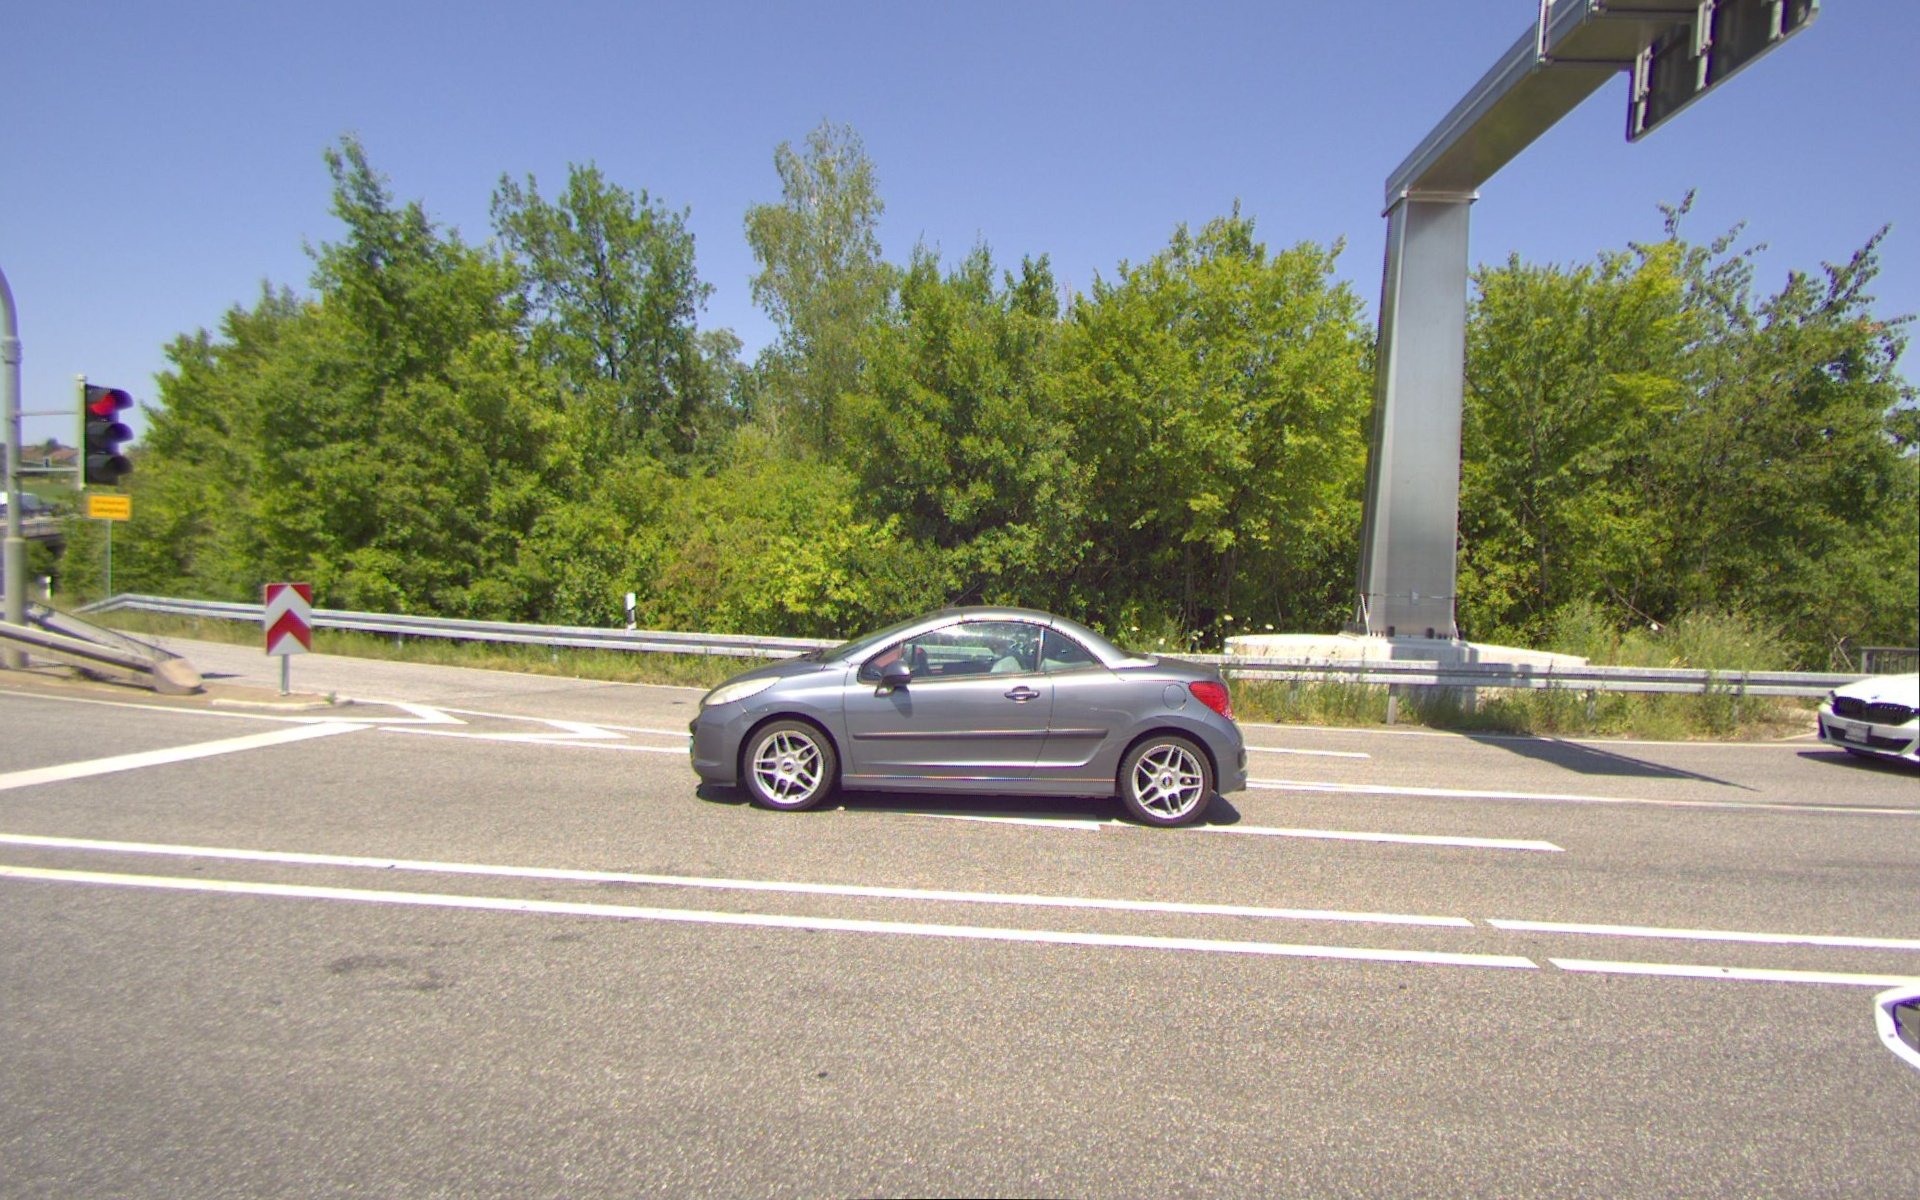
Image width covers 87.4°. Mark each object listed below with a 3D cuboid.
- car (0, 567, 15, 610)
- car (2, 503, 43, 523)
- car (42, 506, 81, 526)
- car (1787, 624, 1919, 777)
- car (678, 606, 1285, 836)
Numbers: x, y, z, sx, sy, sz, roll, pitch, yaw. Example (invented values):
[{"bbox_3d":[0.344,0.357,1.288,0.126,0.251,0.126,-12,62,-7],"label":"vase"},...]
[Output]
[{"bbox_3d":[-40.048,-0.564,40.853,1.889,1.653,4.227,6,-2,-39],"label":"car"},{"bbox_3d":[-105.096,-9.700,112.673,1.970,2.041,3.980,1,3,-21],"label":"car"},{"bbox_3d":[-102.387,-9.549,114.476,1.970,2.041,3.980,1,3,-21],"label":"car"},{"bbox_3d":[11.964,1.101,10.754,4.743,1.504,1.843,2,0,-2],"label":"car"},{"bbox_3d":[0.149,0.793,7.329,3.890,1.370,1.651,2,-1,1],"label":"car"}]
